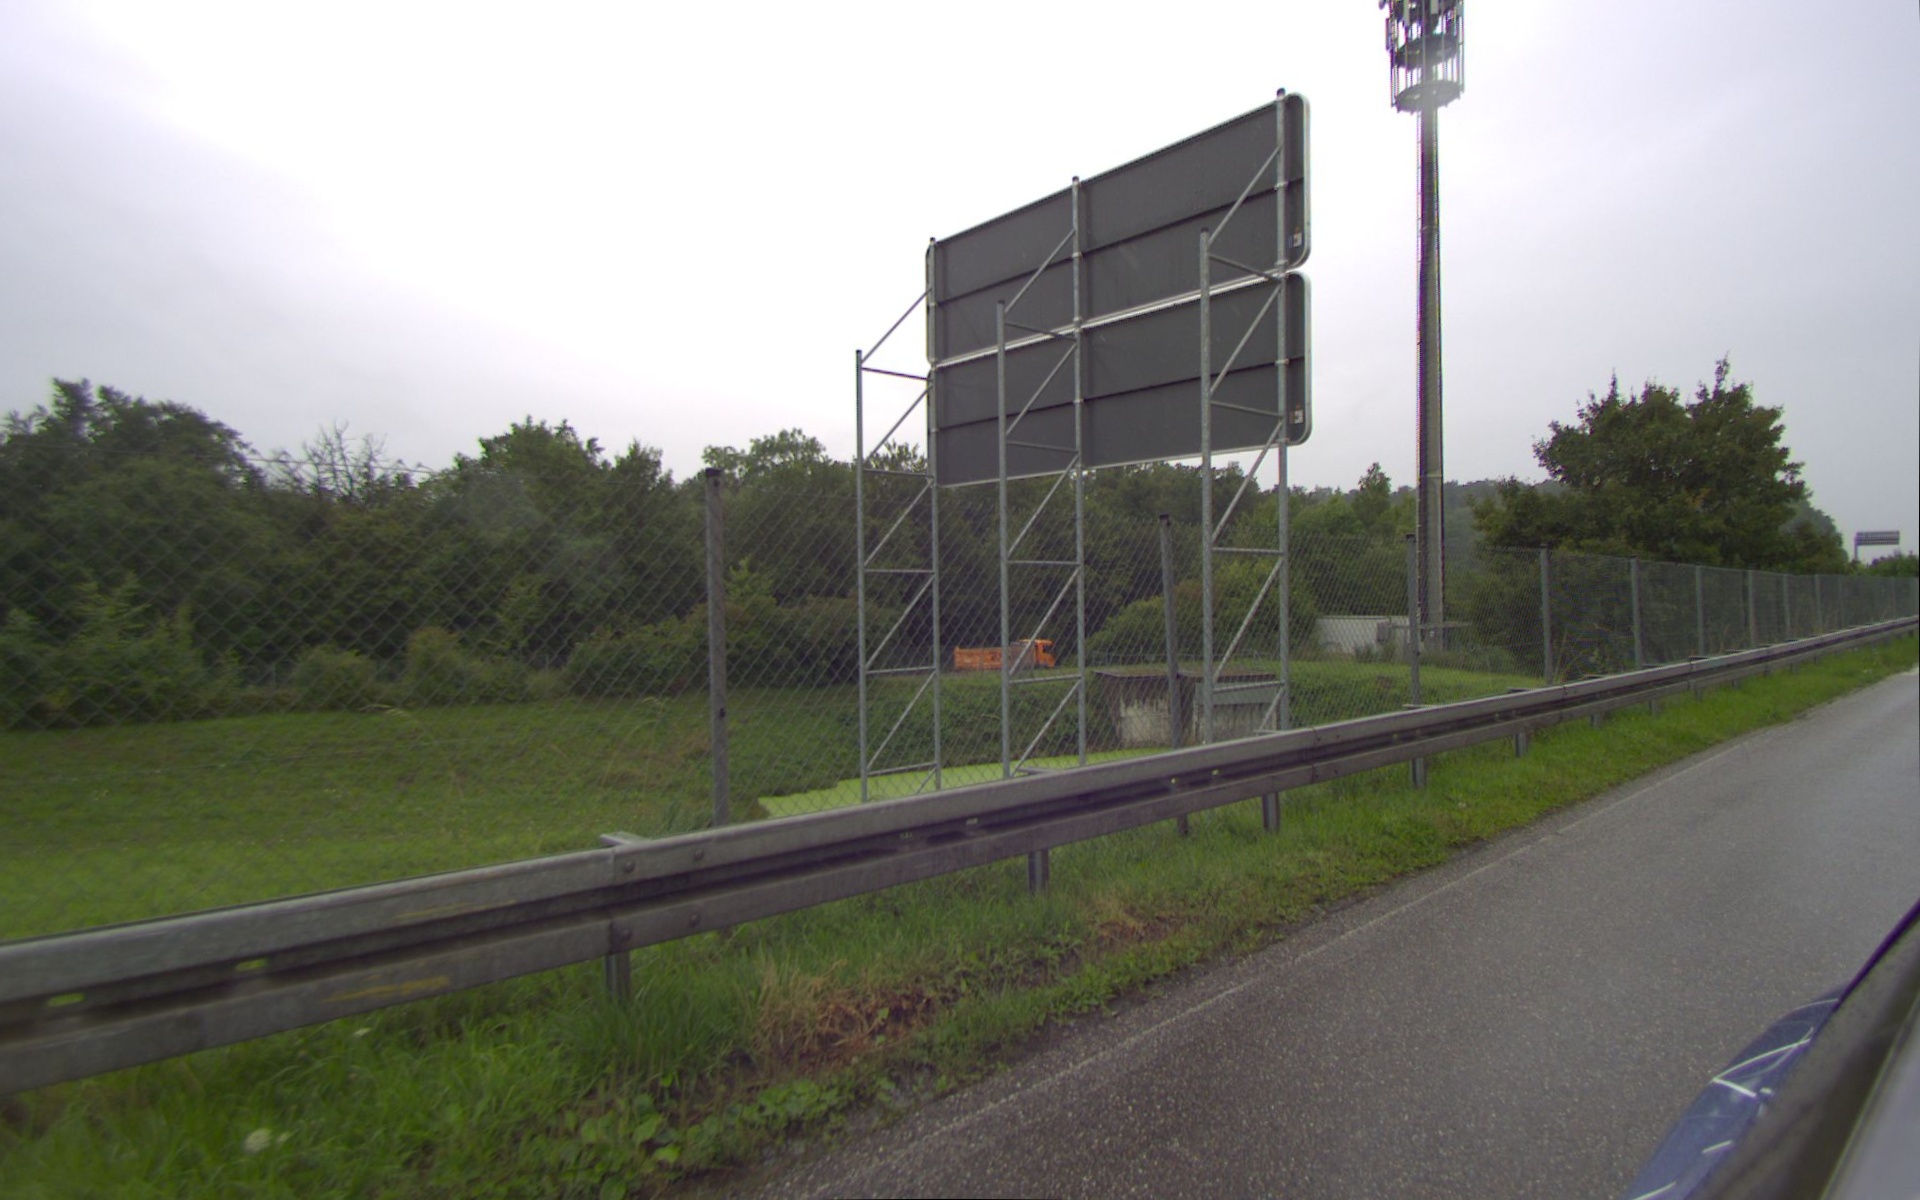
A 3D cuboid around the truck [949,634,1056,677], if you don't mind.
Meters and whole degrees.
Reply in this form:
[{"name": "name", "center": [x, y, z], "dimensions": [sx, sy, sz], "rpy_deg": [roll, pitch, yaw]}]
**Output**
[{"name": "truck", "center": [3.052, 3.840, 70.817], "dimensions": [2.823, 2.697, 8.136], "rpy_deg": [-7, -5, 42]}]
